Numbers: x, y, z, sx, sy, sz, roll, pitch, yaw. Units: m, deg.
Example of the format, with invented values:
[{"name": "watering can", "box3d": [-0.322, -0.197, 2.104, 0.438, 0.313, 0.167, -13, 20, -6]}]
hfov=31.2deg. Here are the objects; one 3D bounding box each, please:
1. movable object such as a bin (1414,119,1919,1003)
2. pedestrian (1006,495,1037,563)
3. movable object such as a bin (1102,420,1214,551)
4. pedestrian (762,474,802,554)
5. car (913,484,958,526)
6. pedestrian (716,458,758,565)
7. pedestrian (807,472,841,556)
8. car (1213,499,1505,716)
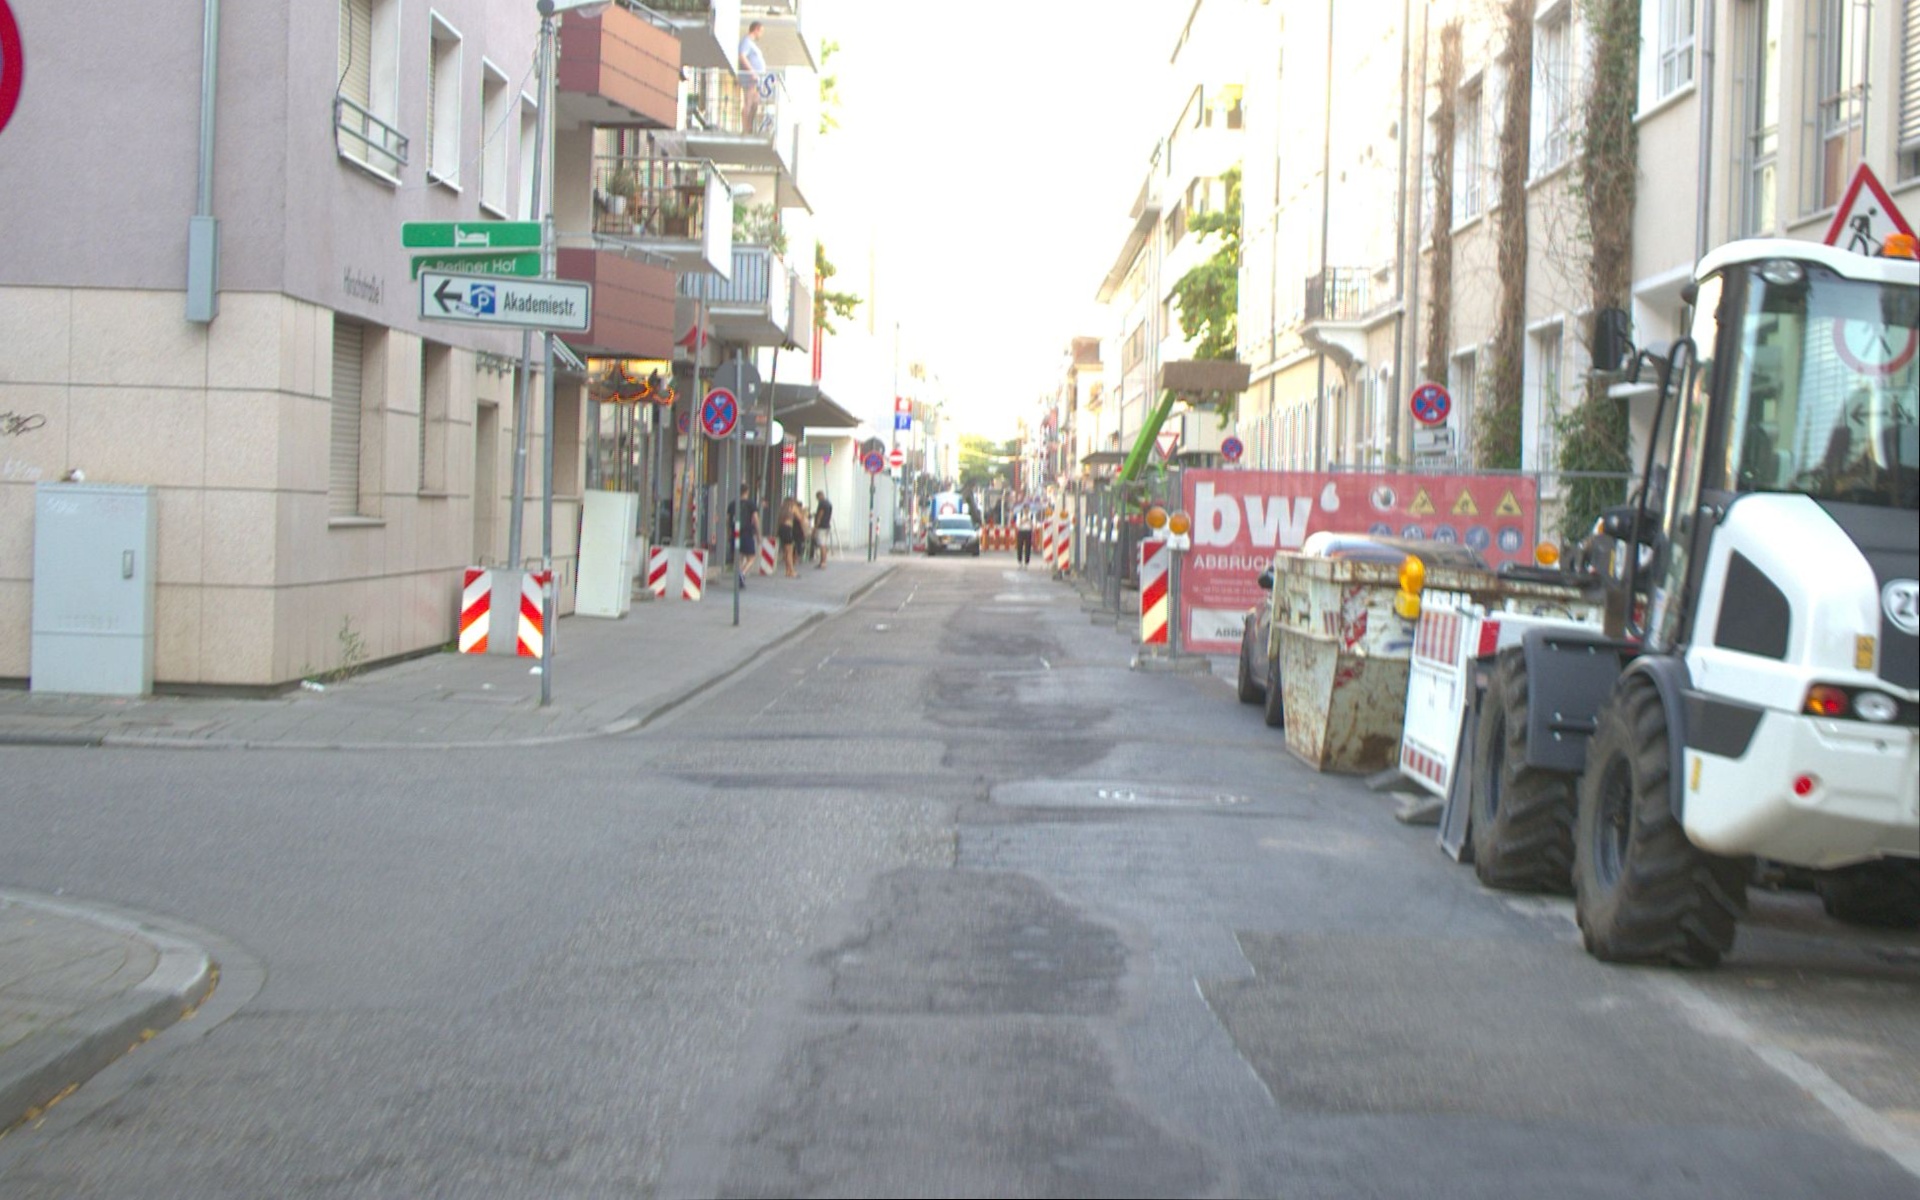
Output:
[{"name": "movable object such as a bin", "box3d": [3.186, -0.187, 12.916, 2.166, 2.587, 5.543, 2, 2, 0]}, {"name": "pedestrian", "box3d": [1.577, -1.837, 88.543, 0.720, 1.734, 0.647, 1, 2, -2]}, {"name": "movable object such as a bin", "box3d": [4.974, -2.928, 87.013, 2.470, 3.119, 4.298, 3, 3, 0]}, {"name": "pedestrian", "box3d": [-3.559, -1.718, 68.689, 0.645, 1.559, 0.631, 1, 3, -14]}, {"name": "car", "box3d": [-0.826, -3.296, 118.696, 1.474, 1.393, 3.332, 2, 2, 0]}, {"name": "pedestrian", "box3d": [-3.815, -1.521, 58.857, 0.629, 1.802, 0.647, 2, 2, 2]}, {"name": "pedestrian", "box3d": [-3.085, -1.946, 77.993, 0.572, 1.880, 0.656, 2, 1, 14]}, {"name": "car", "box3d": [2.954, -0.014, 26.271, 1.693, 1.401, 4.480, 3, 2, 1]}]
